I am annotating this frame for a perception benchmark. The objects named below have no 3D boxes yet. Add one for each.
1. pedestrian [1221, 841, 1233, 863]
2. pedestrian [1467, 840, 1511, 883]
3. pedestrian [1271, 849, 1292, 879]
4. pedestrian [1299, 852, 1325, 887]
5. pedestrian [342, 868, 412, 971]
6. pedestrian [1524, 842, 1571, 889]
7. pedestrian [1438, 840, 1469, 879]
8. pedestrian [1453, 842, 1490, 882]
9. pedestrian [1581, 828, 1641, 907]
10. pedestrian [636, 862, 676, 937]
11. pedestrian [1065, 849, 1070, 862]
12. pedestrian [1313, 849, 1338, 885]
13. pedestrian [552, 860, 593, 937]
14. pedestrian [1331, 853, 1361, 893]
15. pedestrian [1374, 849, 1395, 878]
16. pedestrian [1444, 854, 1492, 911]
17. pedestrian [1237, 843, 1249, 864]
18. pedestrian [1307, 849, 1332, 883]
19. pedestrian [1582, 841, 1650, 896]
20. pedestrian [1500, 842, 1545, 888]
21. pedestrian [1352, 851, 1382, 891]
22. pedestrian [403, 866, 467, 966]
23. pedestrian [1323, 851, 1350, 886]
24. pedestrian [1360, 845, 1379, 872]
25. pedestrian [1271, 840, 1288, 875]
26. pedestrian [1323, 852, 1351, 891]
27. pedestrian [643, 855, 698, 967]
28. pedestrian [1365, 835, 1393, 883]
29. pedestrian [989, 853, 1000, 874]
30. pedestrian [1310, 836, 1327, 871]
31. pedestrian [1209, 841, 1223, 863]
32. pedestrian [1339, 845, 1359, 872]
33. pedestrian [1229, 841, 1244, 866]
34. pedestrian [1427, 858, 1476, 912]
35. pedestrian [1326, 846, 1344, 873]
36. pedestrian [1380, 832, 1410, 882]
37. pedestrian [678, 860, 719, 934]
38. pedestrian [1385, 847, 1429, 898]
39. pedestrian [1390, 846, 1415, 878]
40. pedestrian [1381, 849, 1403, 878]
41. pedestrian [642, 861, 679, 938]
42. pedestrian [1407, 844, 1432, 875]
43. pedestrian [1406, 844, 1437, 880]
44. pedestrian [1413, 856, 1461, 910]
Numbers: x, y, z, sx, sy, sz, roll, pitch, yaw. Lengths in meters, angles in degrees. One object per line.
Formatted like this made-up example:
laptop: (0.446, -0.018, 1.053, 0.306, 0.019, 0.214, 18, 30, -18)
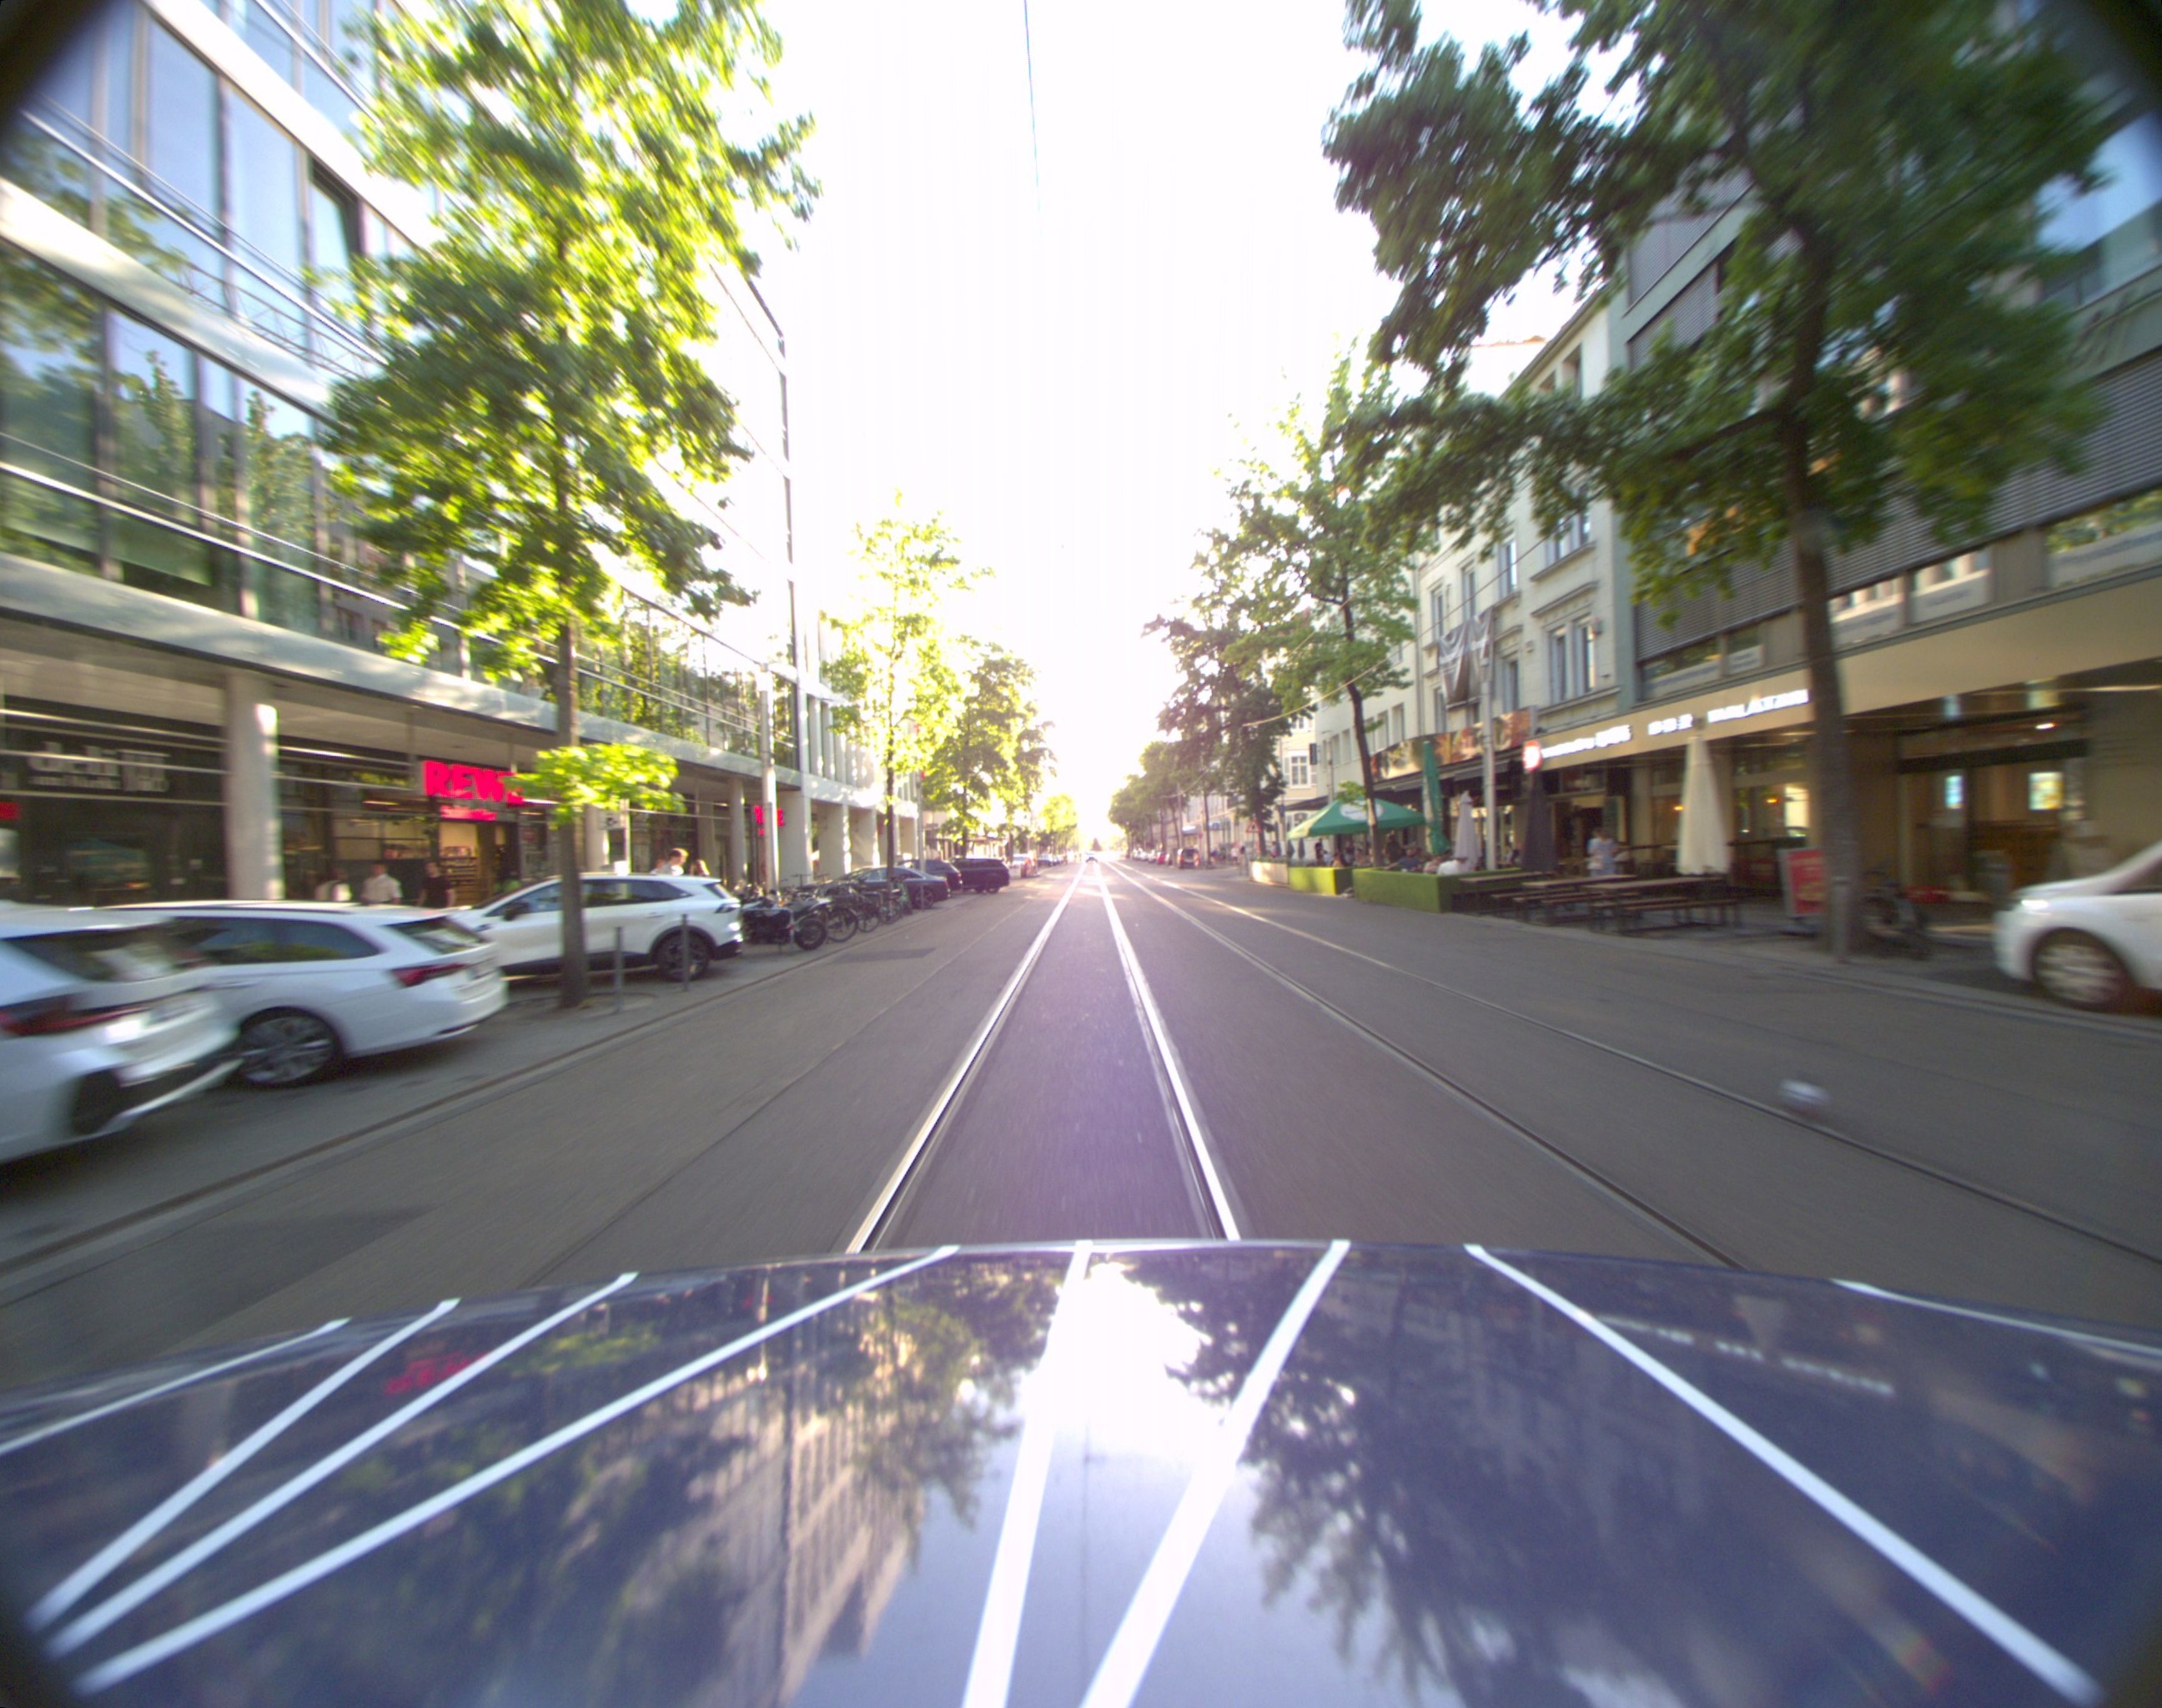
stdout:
pedestrian: (12.156, -0.162, 63.422, 0.721, 1.802, 0.876, -5, 1, 1)
pedestrian: (12.754, 0.230, 23.768, 0.779, 1.230, 0.945, -5, 1, 0)
pedestrian: (9.457, 0.474, 35.842, 0.691, 1.378, 0.807, -4, 1, 2)
pedestrian: (8.723, 0.590, 28.768, 0.709, 1.252, 0.772, -4, 1, 3)
pedestrian: (-12.278, 1.118, 13.266, 0.626, 1.733, 0.599, -1, 1, 0)
pedestrian: (12.555, 0.302, 20.485, 0.702, 1.161, 0.788, -5, 1, 0)
pedestrian: (12.804, 0.183, 26.122, 0.620, 1.302, 0.697, -5, 1, 0)
pedestrian: (12.835, 0.248, 24.989, 0.738, 1.224, 0.788, -5, 1, 0)
pedestrian: (10.964, 0.273, 15.738, 0.649, 1.565, 0.700, -5, 1, 1)
pedestrian: (-9.820, 1.042, 17.566, 0.518, 1.686, 0.550, -2, 1, 5)
pedestrian: (-2.007, 0.279, 112.012, 0.705, 1.858, 0.792, -2, 1, -1)
pedestrian: (9.647, 0.510, 29.989, 0.709, 1.339, 0.781, -4, 1, 3)
pedestrian: (-11.692, 1.006, 17.479, 0.558, 1.740, 0.525, 0, 1, 1)
pedestrian: (8.615, 0.620, 24.739, 0.620, 1.238, 0.697, -5, 1, 0)
pedestrian: (12.569, 0.395, 31.472, 0.553, 1.155, 0.687, -4, 1, 2)
pedestrian: (9.340, 0.675, 18.363, 0.658, 1.286, 0.798, -5, 1, 0)
pedestrian: (12.630, -0.022, 59.341, 0.709, 1.646, 0.967, -2, 0, 2)
pedestrian: (9.694, 0.478, 30.864, 0.691, 1.304, 0.807, -4, 1, 2)
pedestrian: (12.583, 0.326, 17.908, 0.755, 1.181, 1.065, -5, 1, 0)
pedestrian: (12.528, 0.302, 21.580, 0.738, 1.207, 0.788, -5, 1, 0)
pedestrian: (9.338, 0.542, 24.806, 0.620, 1.238, 0.697, -5, 1, 0)
pedestrian: (-11.592, 1.084, 13.645, 0.626, 1.733, 0.599, -1, 1, -12)
pedestrian: (9.633, 0.520, 28.651, 0.709, 1.252, 0.869, -4, 1, 3)
pedestrian: (13.188, 0.205, 34.737, 0.553, 1.155, 0.687, -4, 1, 2)
pedestrian: (10.298, 0.182, 39.484, 0.758, 1.781, 0.687, -4, 1, 14)
pedestrian: (8.690, 0.593, 25.785, 0.620, 1.238, 0.697, -5, 1, 0)
pedestrian: (-7.184, 0.979, 13.317, 0.584, 1.908, 0.663, 0, 1, 3)
pedestrian: (10.573, 0.179, 26.985, 0.620, 1.661, 0.697, -4, 1, 0)
pedestrian: (-7.865, 0.867, 69.244, 0.835, 1.886, 0.918, -1, 1, 4)
pedestrian: (12.412, -0.033, 39.715, 0.685, 1.805, 0.765, -4, 1, 16)
pedestrian: (11.247, -0.176, 63.516, 0.867, 1.771, 0.884, -5, 1, 1)
pedestrian: (13.270, 0.231, 37.657, 0.646, 1.262, 0.738, -4, 1, 1)
pedestrian: (11.436, -0.043, 55.850, 0.776, 1.782, 0.984, -5, 1, 2)
pedestrian: (8.617, 0.709, 17.700, 0.658, 1.186, 0.798, -5, 1, 0)
pedestrian: (12.610, 0.275, 37.746, 0.628, 1.274, 0.727, -4, 1, 1)
pedestrian: (11.180, 0.102, 27.047, 0.679, 1.746, 0.697, -4, 1, 2)
pedestrian: (-9.013, 1.003, 17.928, 0.681, 1.686, 0.549, -3, 1, -11)
pedestrian: (9.163, 0.503, 21.389, 0.756, 1.336, 0.872, -5, 1, 0)
pedestrian: (12.464, 0.300, 29.453, 0.603, 1.167, 0.687, -4, 1, 1)
pedestrian: (12.510, 0.378, 30.597, 0.553, 1.155, 0.687, -4, 1, 2)
pedestrian: (-9.752, 1.042, 17.619, 0.524, 1.740, 0.559, 0, 1, 3)
pedestrian: (13.129, 0.215, 29.460, 0.603, 1.151, 0.687, -4, 1, 1)
pedestrian: (12.224, 0.272, 27.300, 0.671, 1.235, 0.799, -4, 1, 0)
pedestrian: (8.655, 0.693, 18.507, 0.658, 1.237, 0.872, -5, 1, 0)
